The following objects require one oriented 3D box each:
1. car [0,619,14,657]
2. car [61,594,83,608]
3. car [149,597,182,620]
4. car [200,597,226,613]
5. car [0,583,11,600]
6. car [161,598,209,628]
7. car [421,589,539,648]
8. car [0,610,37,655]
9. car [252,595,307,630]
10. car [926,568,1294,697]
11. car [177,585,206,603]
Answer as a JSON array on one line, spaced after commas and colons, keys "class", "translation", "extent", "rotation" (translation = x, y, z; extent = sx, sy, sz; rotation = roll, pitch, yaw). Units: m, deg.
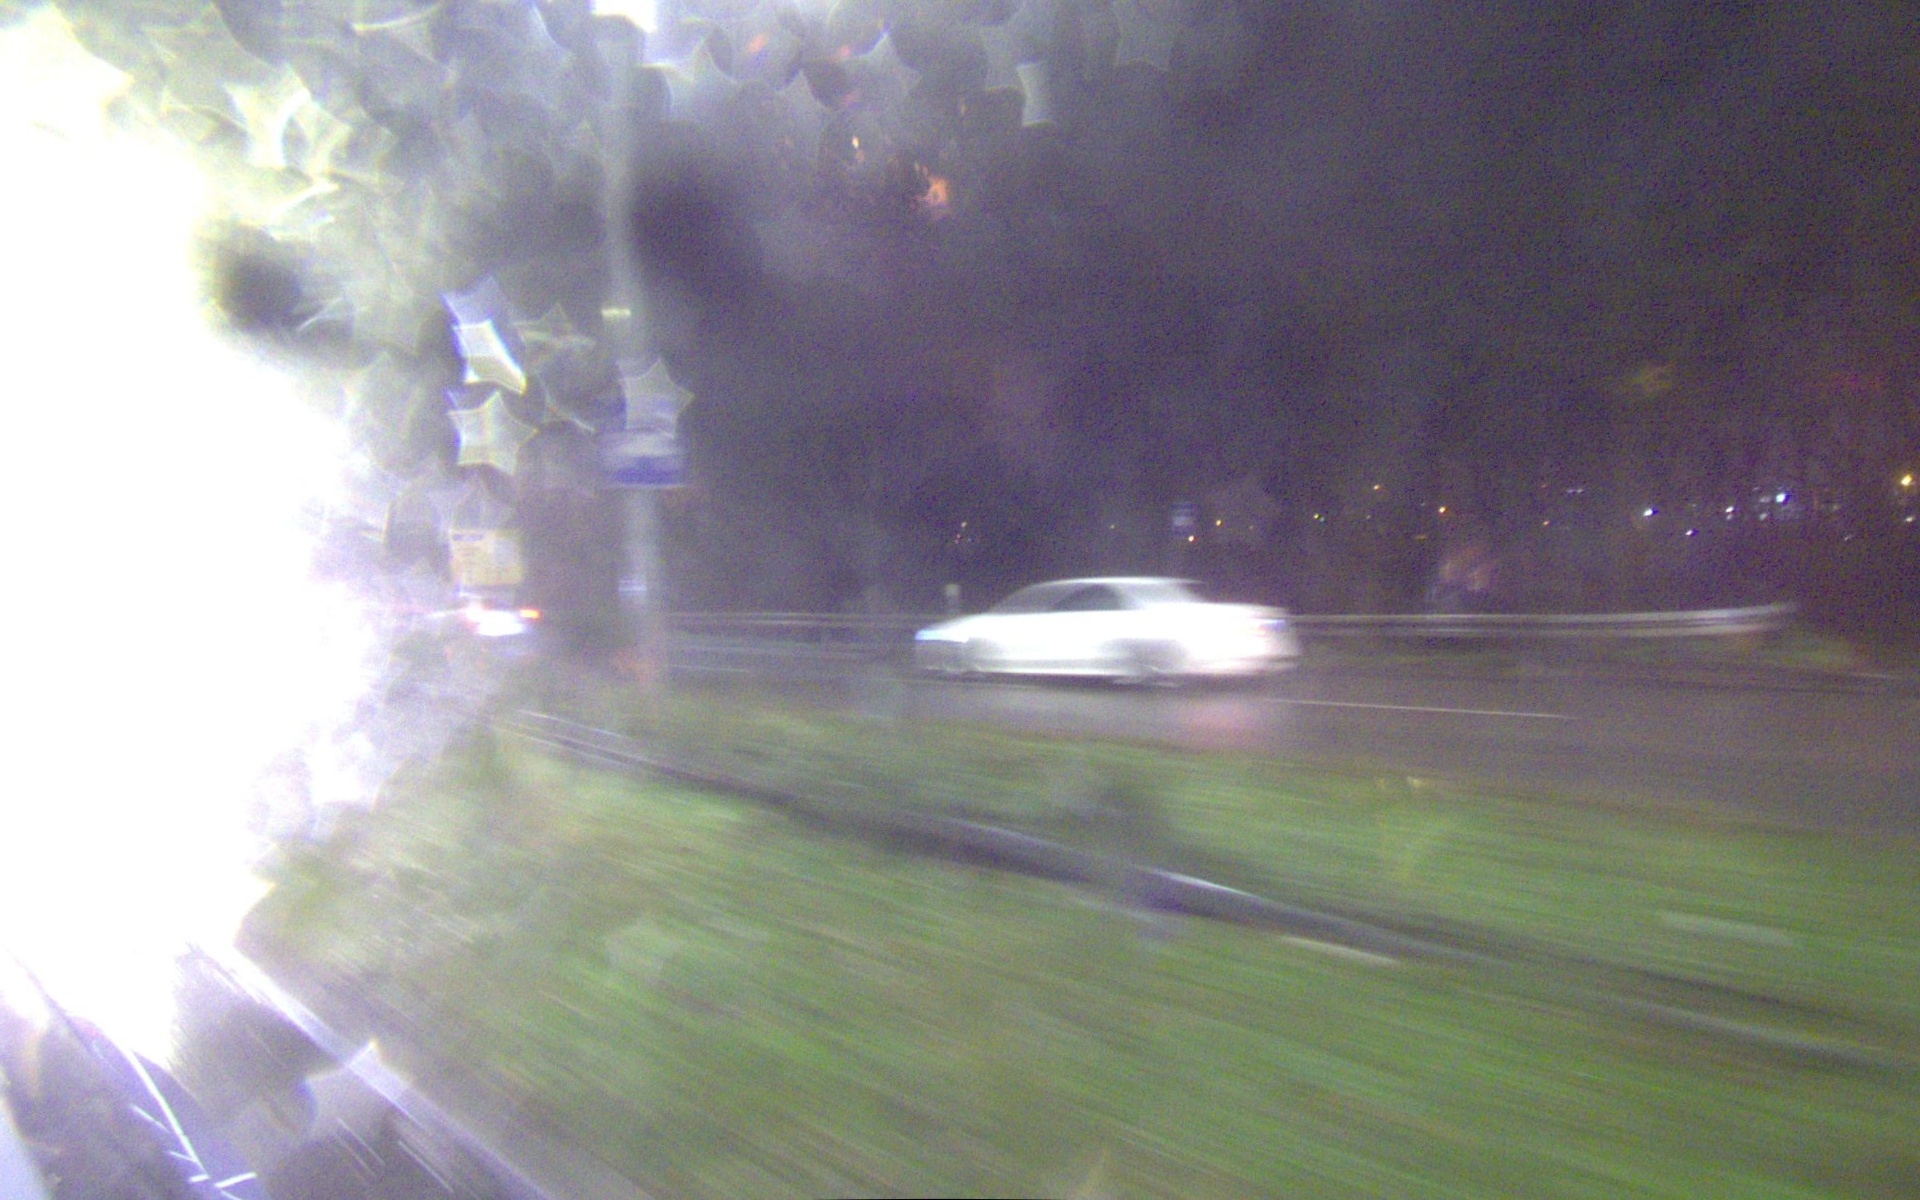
[{"class": "car", "translation": [-41.344, 1.654, 42.995], "extent": [1.583, 1.435, 3.393], "rotation": [-7, 5, -43]}, {"class": "car", "translation": [-122.694, 0.137, 139.855], "extent": [1.968, 1.691, 4.008], "rotation": [-4, 3, -39]}, {"class": "car", "translation": [-65.878, 0.646, 83.885], "extent": [1.744, 1.643, 4.255], "rotation": [-3, 4, -42]}, {"class": "car", "translation": [-68.873, 0.455, 93.319], "extent": [1.690, 1.434, 4.675], "rotation": [0, 0, -40]}, {"class": "car", "translation": [-119.231, -1.080, 125.553], "extent": [1.970, 2.028, 4.005], "rotation": [-3, 2, -42]}, {"class": "car", "translation": [-43.834, 0.732, 57.217], "extent": [1.826, 1.583, 3.512], "rotation": [-3, 1, -42]}, {"class": "car", "translation": [-13.189, 0.482, 27.708], "extent": [3.943, 1.507, 1.714], "rotation": [0, 0, 45]}, {"class": "car", "translation": [-47.383, 1.615, 50.276], "extent": [4.002, 2.028, 1.971], "rotation": [0, 3, 45]}, {"class": "car", "translation": [-33.846, 0.573, 50.290], "extent": [1.752, 1.605, 4.568], "rotation": [-2, 1, -40]}, {"class": "car", "translation": [1.896, 0.424, 13.574], "extent": [4.568, 1.468, 1.774], "rotation": [-2, -1, 36]}, {"class": "car", "translation": [-85.688, -0.712, 112.888], "extent": [4.000, 1.873, 1.850], "rotation": [0, 3, 43]}]
